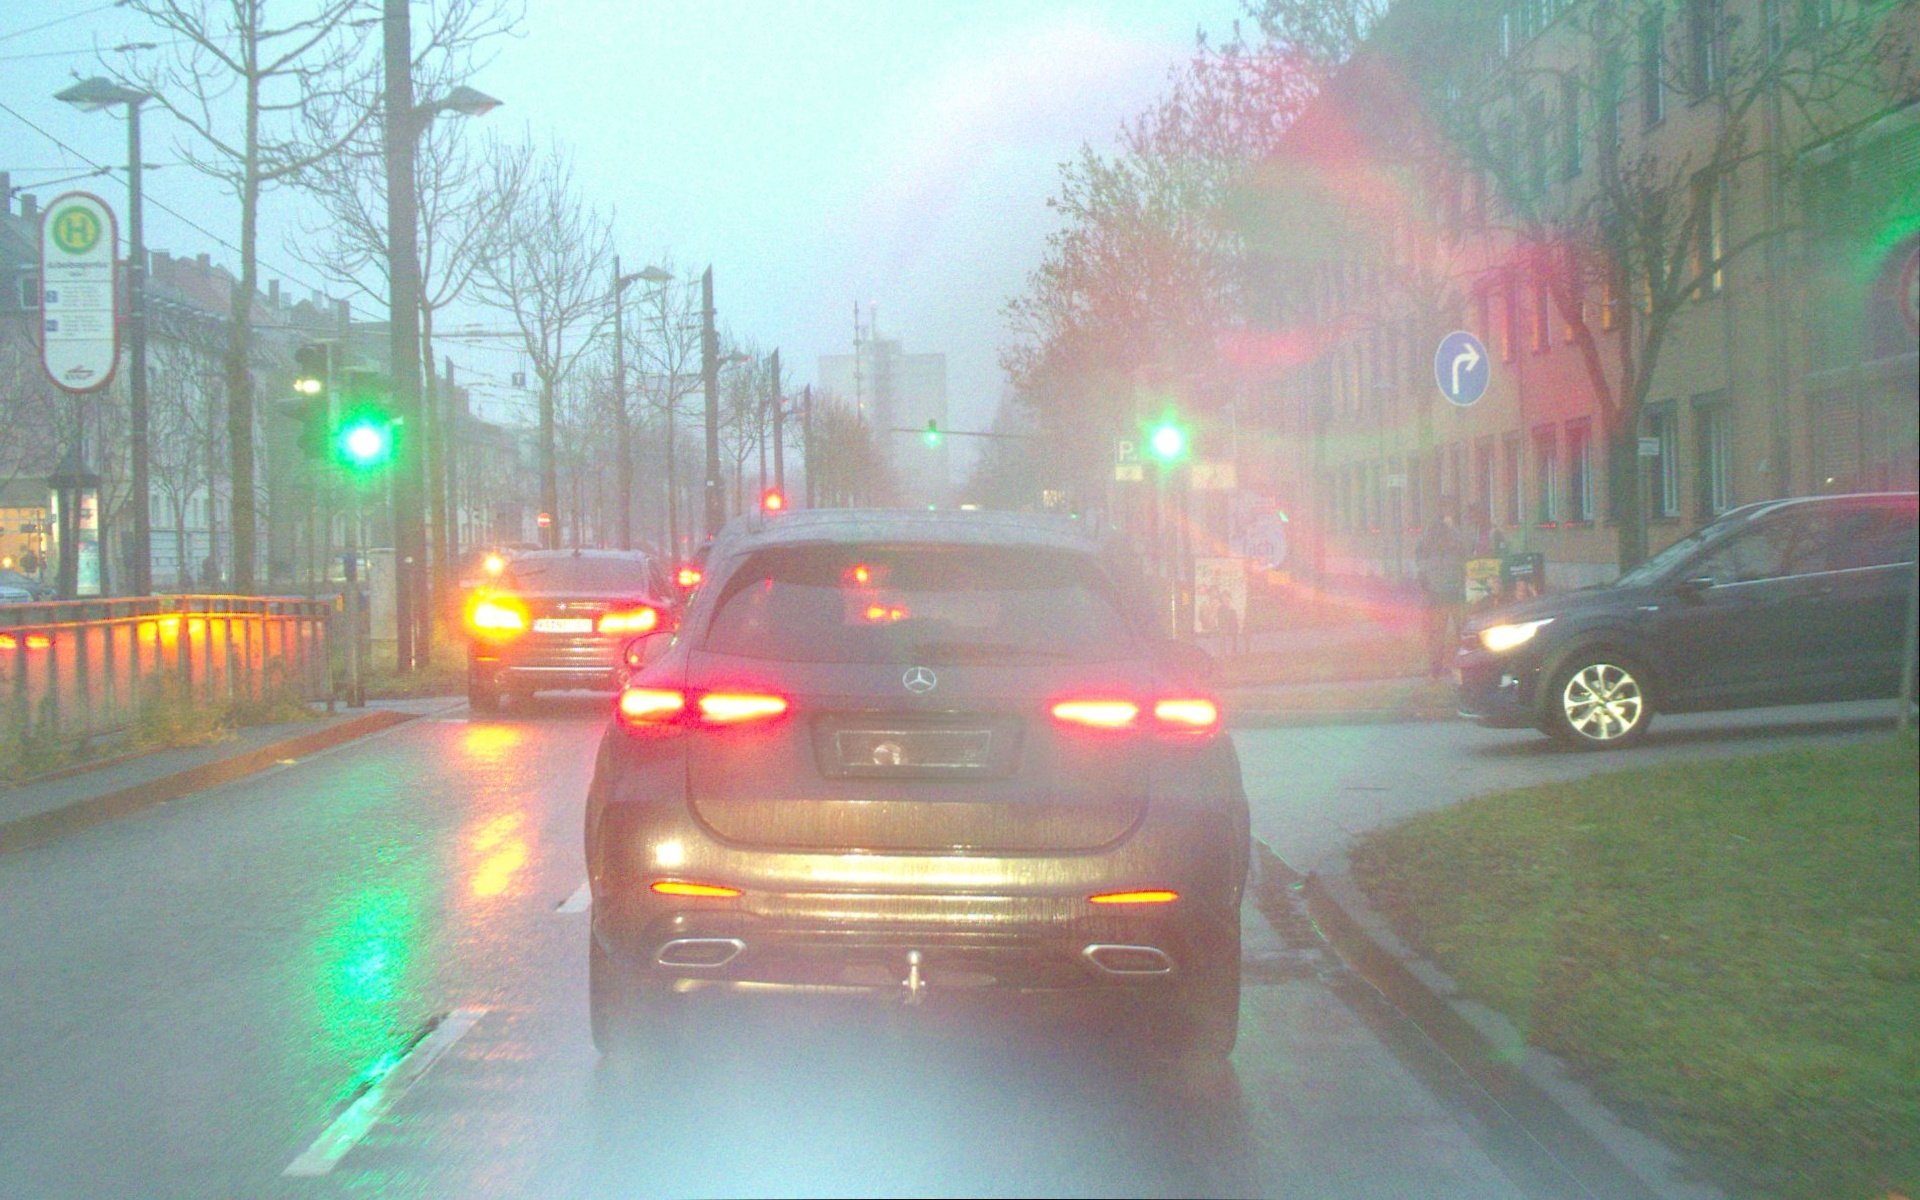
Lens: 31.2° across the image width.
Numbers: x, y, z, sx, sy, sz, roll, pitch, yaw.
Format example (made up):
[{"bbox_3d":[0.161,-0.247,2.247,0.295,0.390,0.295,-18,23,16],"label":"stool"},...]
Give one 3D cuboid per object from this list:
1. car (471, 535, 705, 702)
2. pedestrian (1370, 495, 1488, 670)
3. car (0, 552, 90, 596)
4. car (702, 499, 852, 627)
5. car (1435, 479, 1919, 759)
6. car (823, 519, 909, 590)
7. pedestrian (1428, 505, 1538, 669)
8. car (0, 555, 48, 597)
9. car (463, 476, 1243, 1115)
[{"bbox_3d":[-3.397,0.126,32.078,1.993,1.393,4.001,-2,1,-4],"label":"car"},{"bbox_3d":[4.339,-0.159,31.801,0.903,1.590,0.501,-1,1,42],"label":"pedestrian"},{"bbox_3d":[-28.118,-0.742,101.976,3.988,1.222,2.000,-2,1,7],"label":"car"},{"bbox_3d":[-2.661,-0.565,50.798,1.993,1.759,4.000,-2,1,-1],"label":"car"},{"bbox_3d":[5.183,0.068,22.390,3.860,1.555,1.765,-4,1,1],"label":"car"},{"bbox_3d":[-2.264,-1.125,83.668,1.993,1.612,4.000,-2,1,-1],"label":"car"},{"bbox_3d":[5.164,-0.124,33.940,0.903,1.590,0.501,-1,1,42],"label":"pedestrian"},{"bbox_3d":[-28.412,-0.635,98.984,3.774,1.152,1.649,-2,1,5],"label":"car"},{"bbox_3d":[-0.311,0.470,10.992,1.991,1.610,4.000,-2,1,-1],"label":"car"}]
